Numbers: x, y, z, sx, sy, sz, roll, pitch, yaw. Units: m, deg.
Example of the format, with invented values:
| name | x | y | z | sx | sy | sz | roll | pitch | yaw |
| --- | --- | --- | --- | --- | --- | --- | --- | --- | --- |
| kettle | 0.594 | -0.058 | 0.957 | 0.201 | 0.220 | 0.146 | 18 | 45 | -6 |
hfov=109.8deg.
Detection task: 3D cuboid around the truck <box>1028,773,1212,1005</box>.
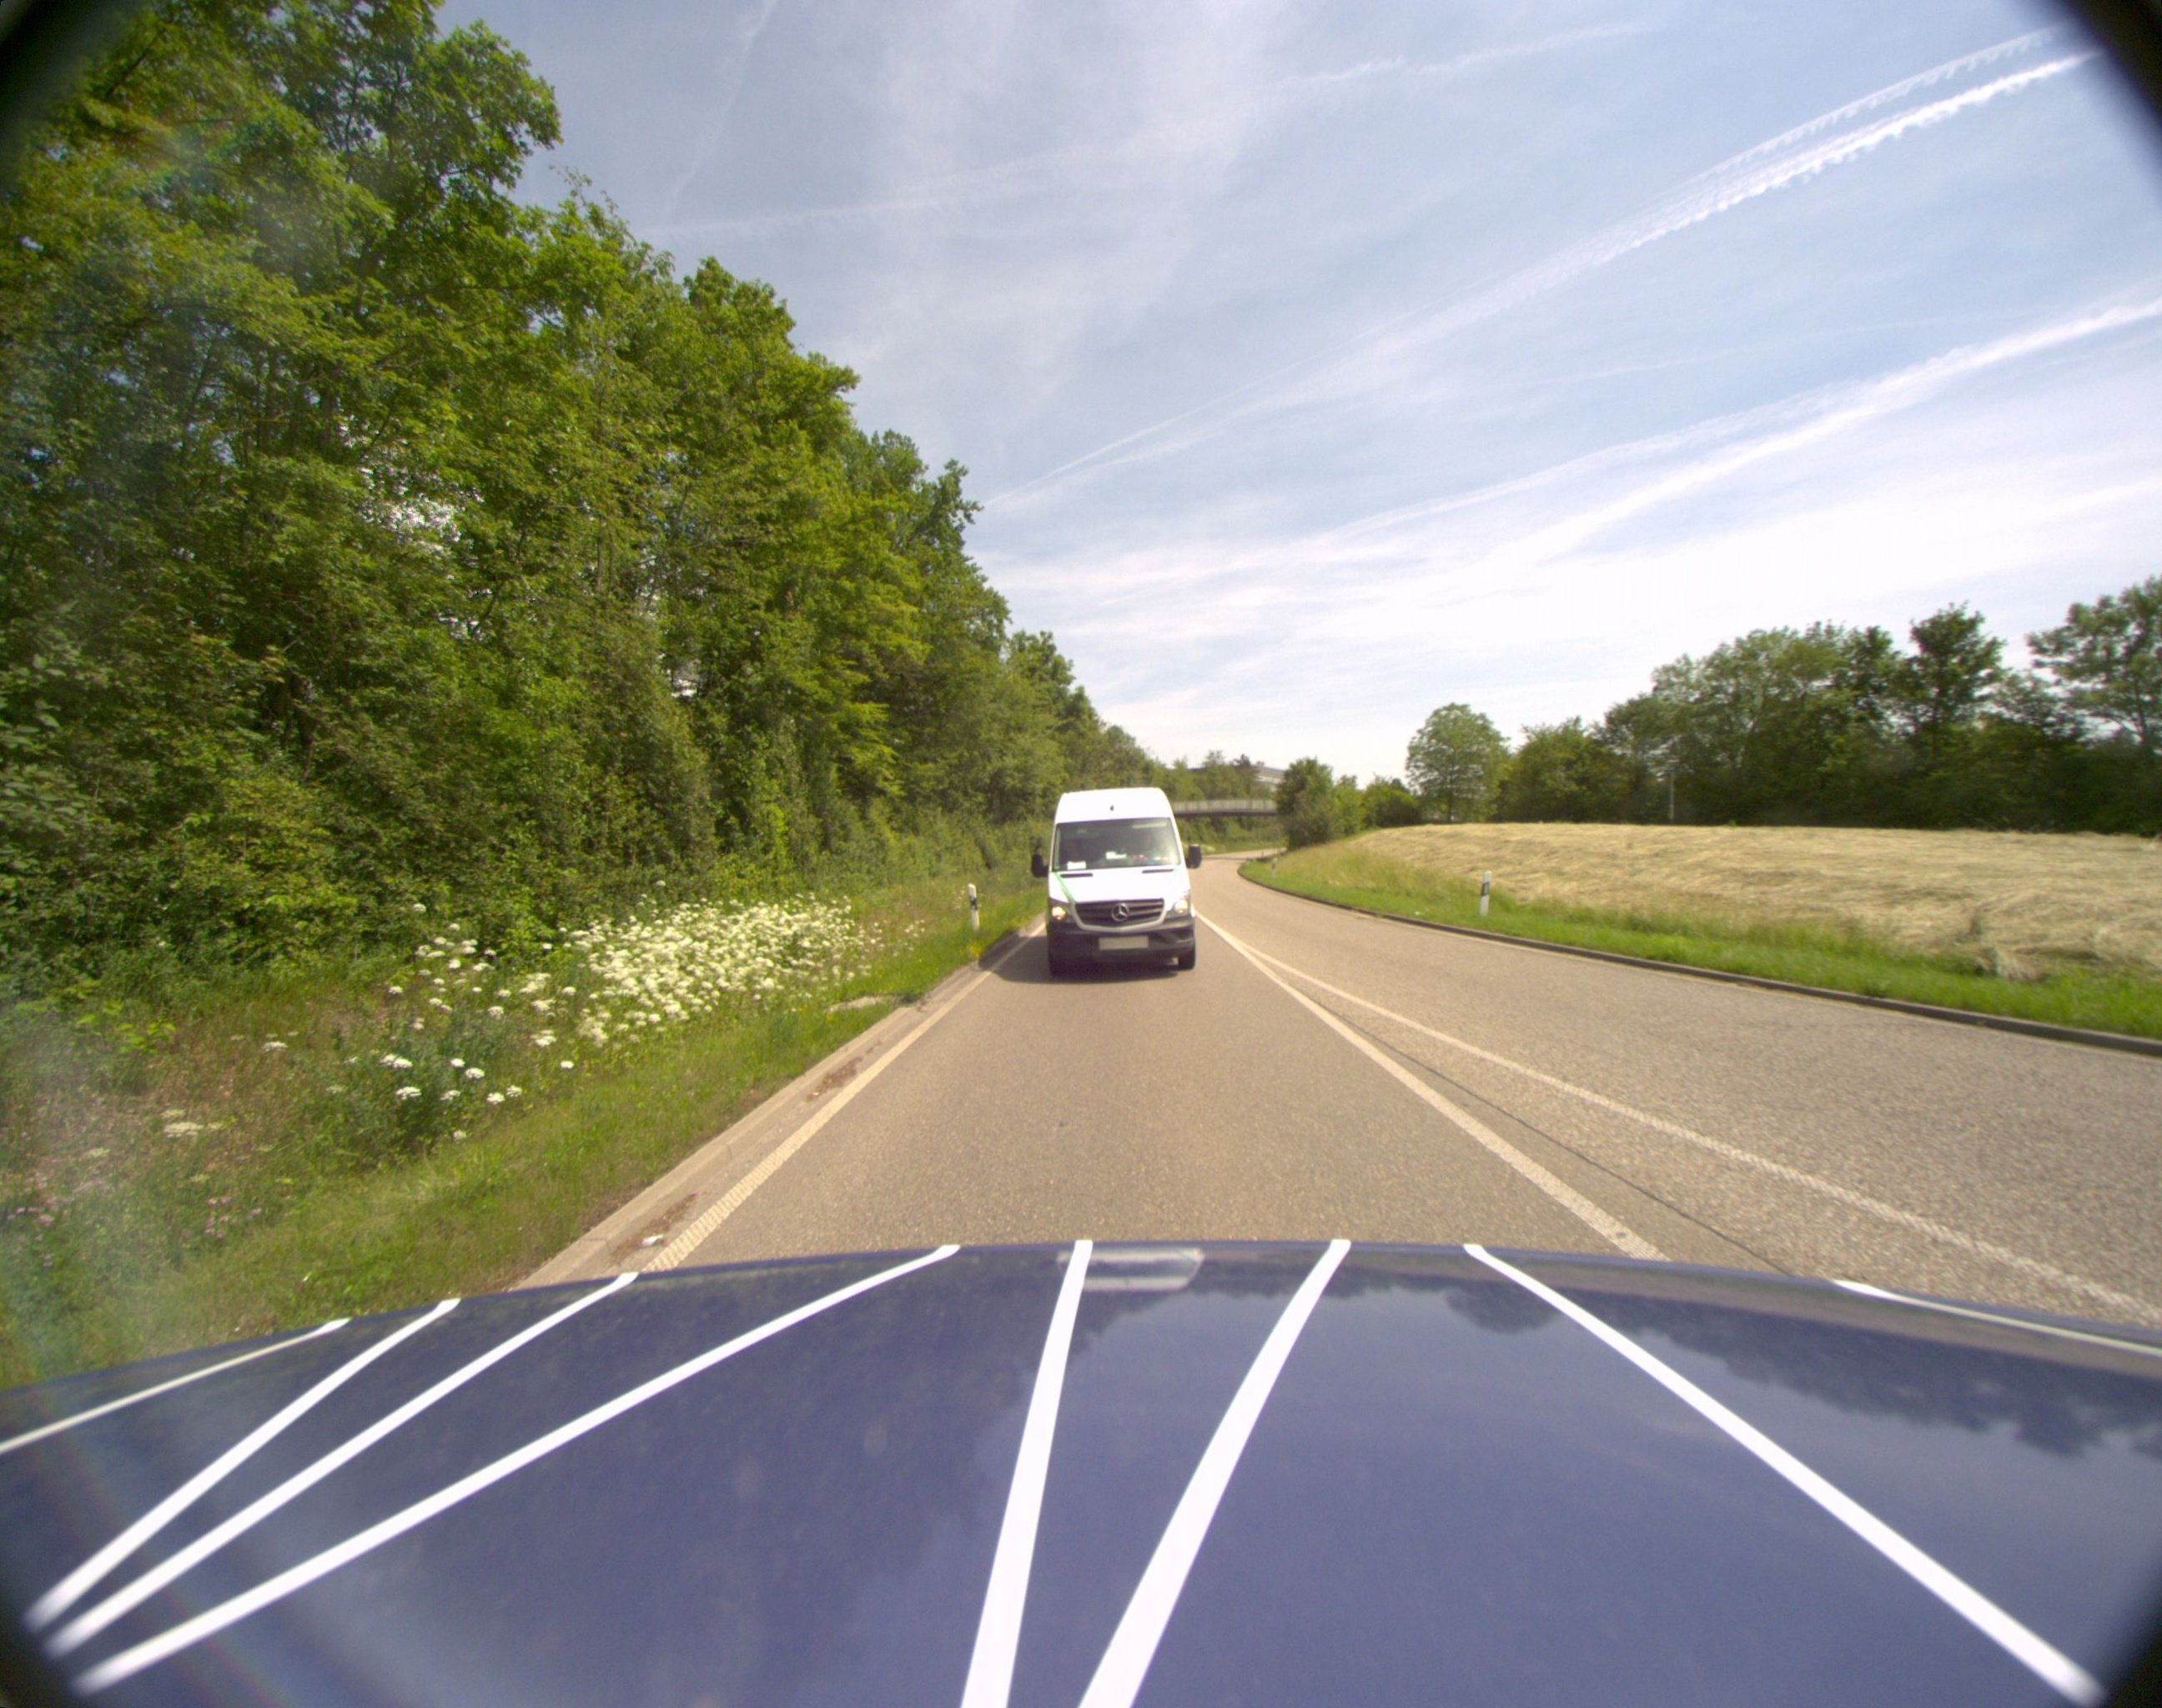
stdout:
| name | x | y | z | sx | sy | sz | roll | pitch | yaw |
| --- | --- | --- | --- | --- | --- | --- | --- | --- | --- |
| truck | 0.416 | 0.397 | 11.625 | 1.999 | 2.571 | 5.886 | -2 | 0 | -1 |
